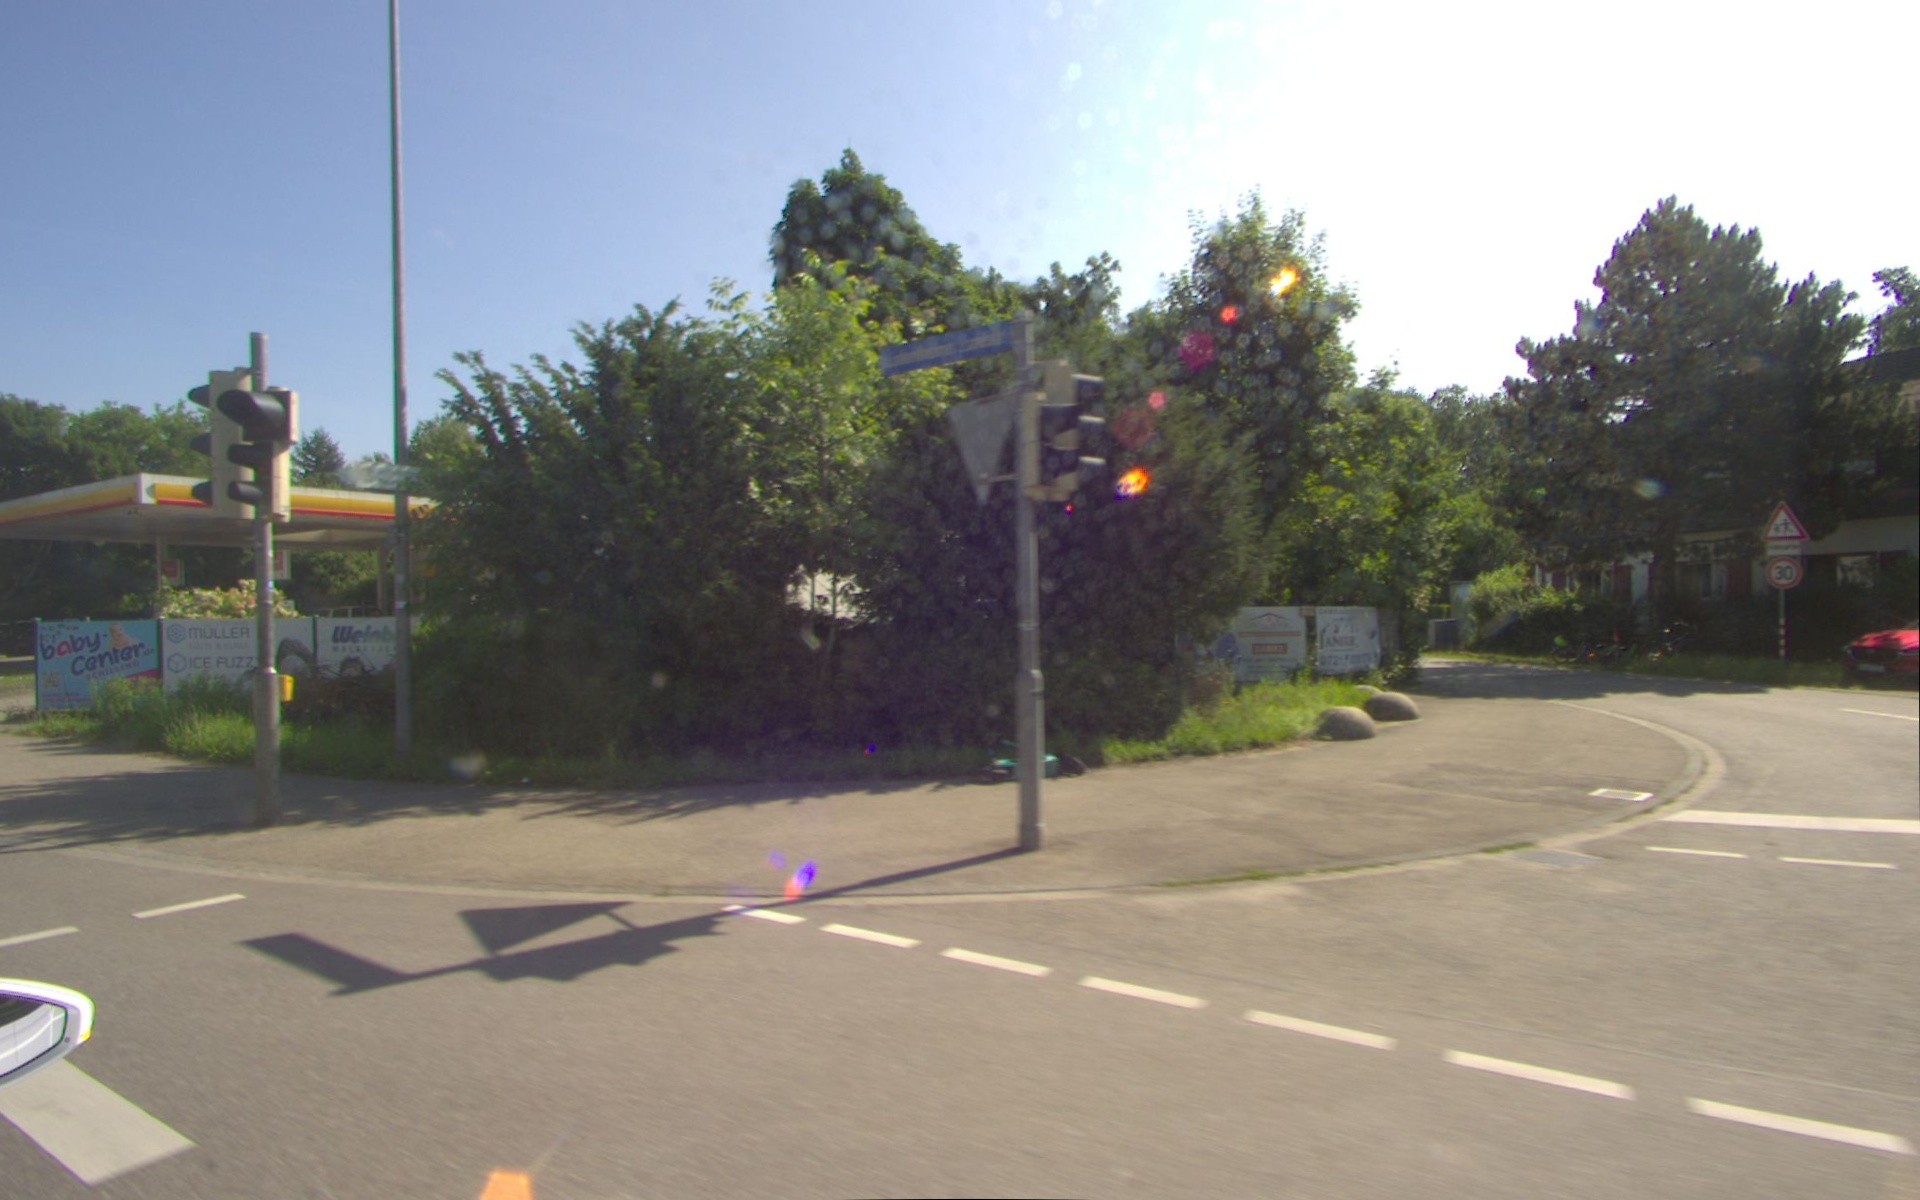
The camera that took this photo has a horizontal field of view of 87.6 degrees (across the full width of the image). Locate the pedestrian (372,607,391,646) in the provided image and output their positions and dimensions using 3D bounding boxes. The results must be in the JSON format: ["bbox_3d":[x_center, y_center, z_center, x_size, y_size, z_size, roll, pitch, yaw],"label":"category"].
[{"bbox_3d":[-23.848,1.082,41.279,0.469,1.614,0.497,0,1,36],"label":"pedestrian"}]

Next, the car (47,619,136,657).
[{"bbox_3d":[-33.546,1.422,38.651,3.797,1.378,1.792,-1,0,36],"label":"car"}]

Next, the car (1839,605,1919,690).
[{"bbox_3d":[18.688,0.822,18.285,3.910,1.483,1.628,-1,0,-2],"label":"car"}]

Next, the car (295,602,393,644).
[{"bbox_3d":[-28.095,1.036,45.632,4.711,1.862,1.848,-1,0,32],"label":"car"}]

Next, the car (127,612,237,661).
[{"bbox_3d":[-26.896,1.235,34.613,3.821,1.599,1.756,-1,0,31],"label":"car"}]

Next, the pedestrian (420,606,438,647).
[{"bbox_3d":[-22.003,1.090,41.512,0.494,1.690,0.473,0,1,34],"label":"pedestrian"}]

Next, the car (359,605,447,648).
[{"bbox_3d":[-23.885,1.138,42.903,3.949,1.750,1.821,-1,0,37],"label":"car"}]

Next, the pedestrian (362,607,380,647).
[{"bbox_3d":[-24.603,1.111,41.813,0.469,1.653,0.497,0,1,36],"label":"pedestrian"}]

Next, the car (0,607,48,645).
[{"bbox_3d":[-46.086,1.276,48.295,3.941,1.788,1.992,-1,-2,30],"label":"car"}]
